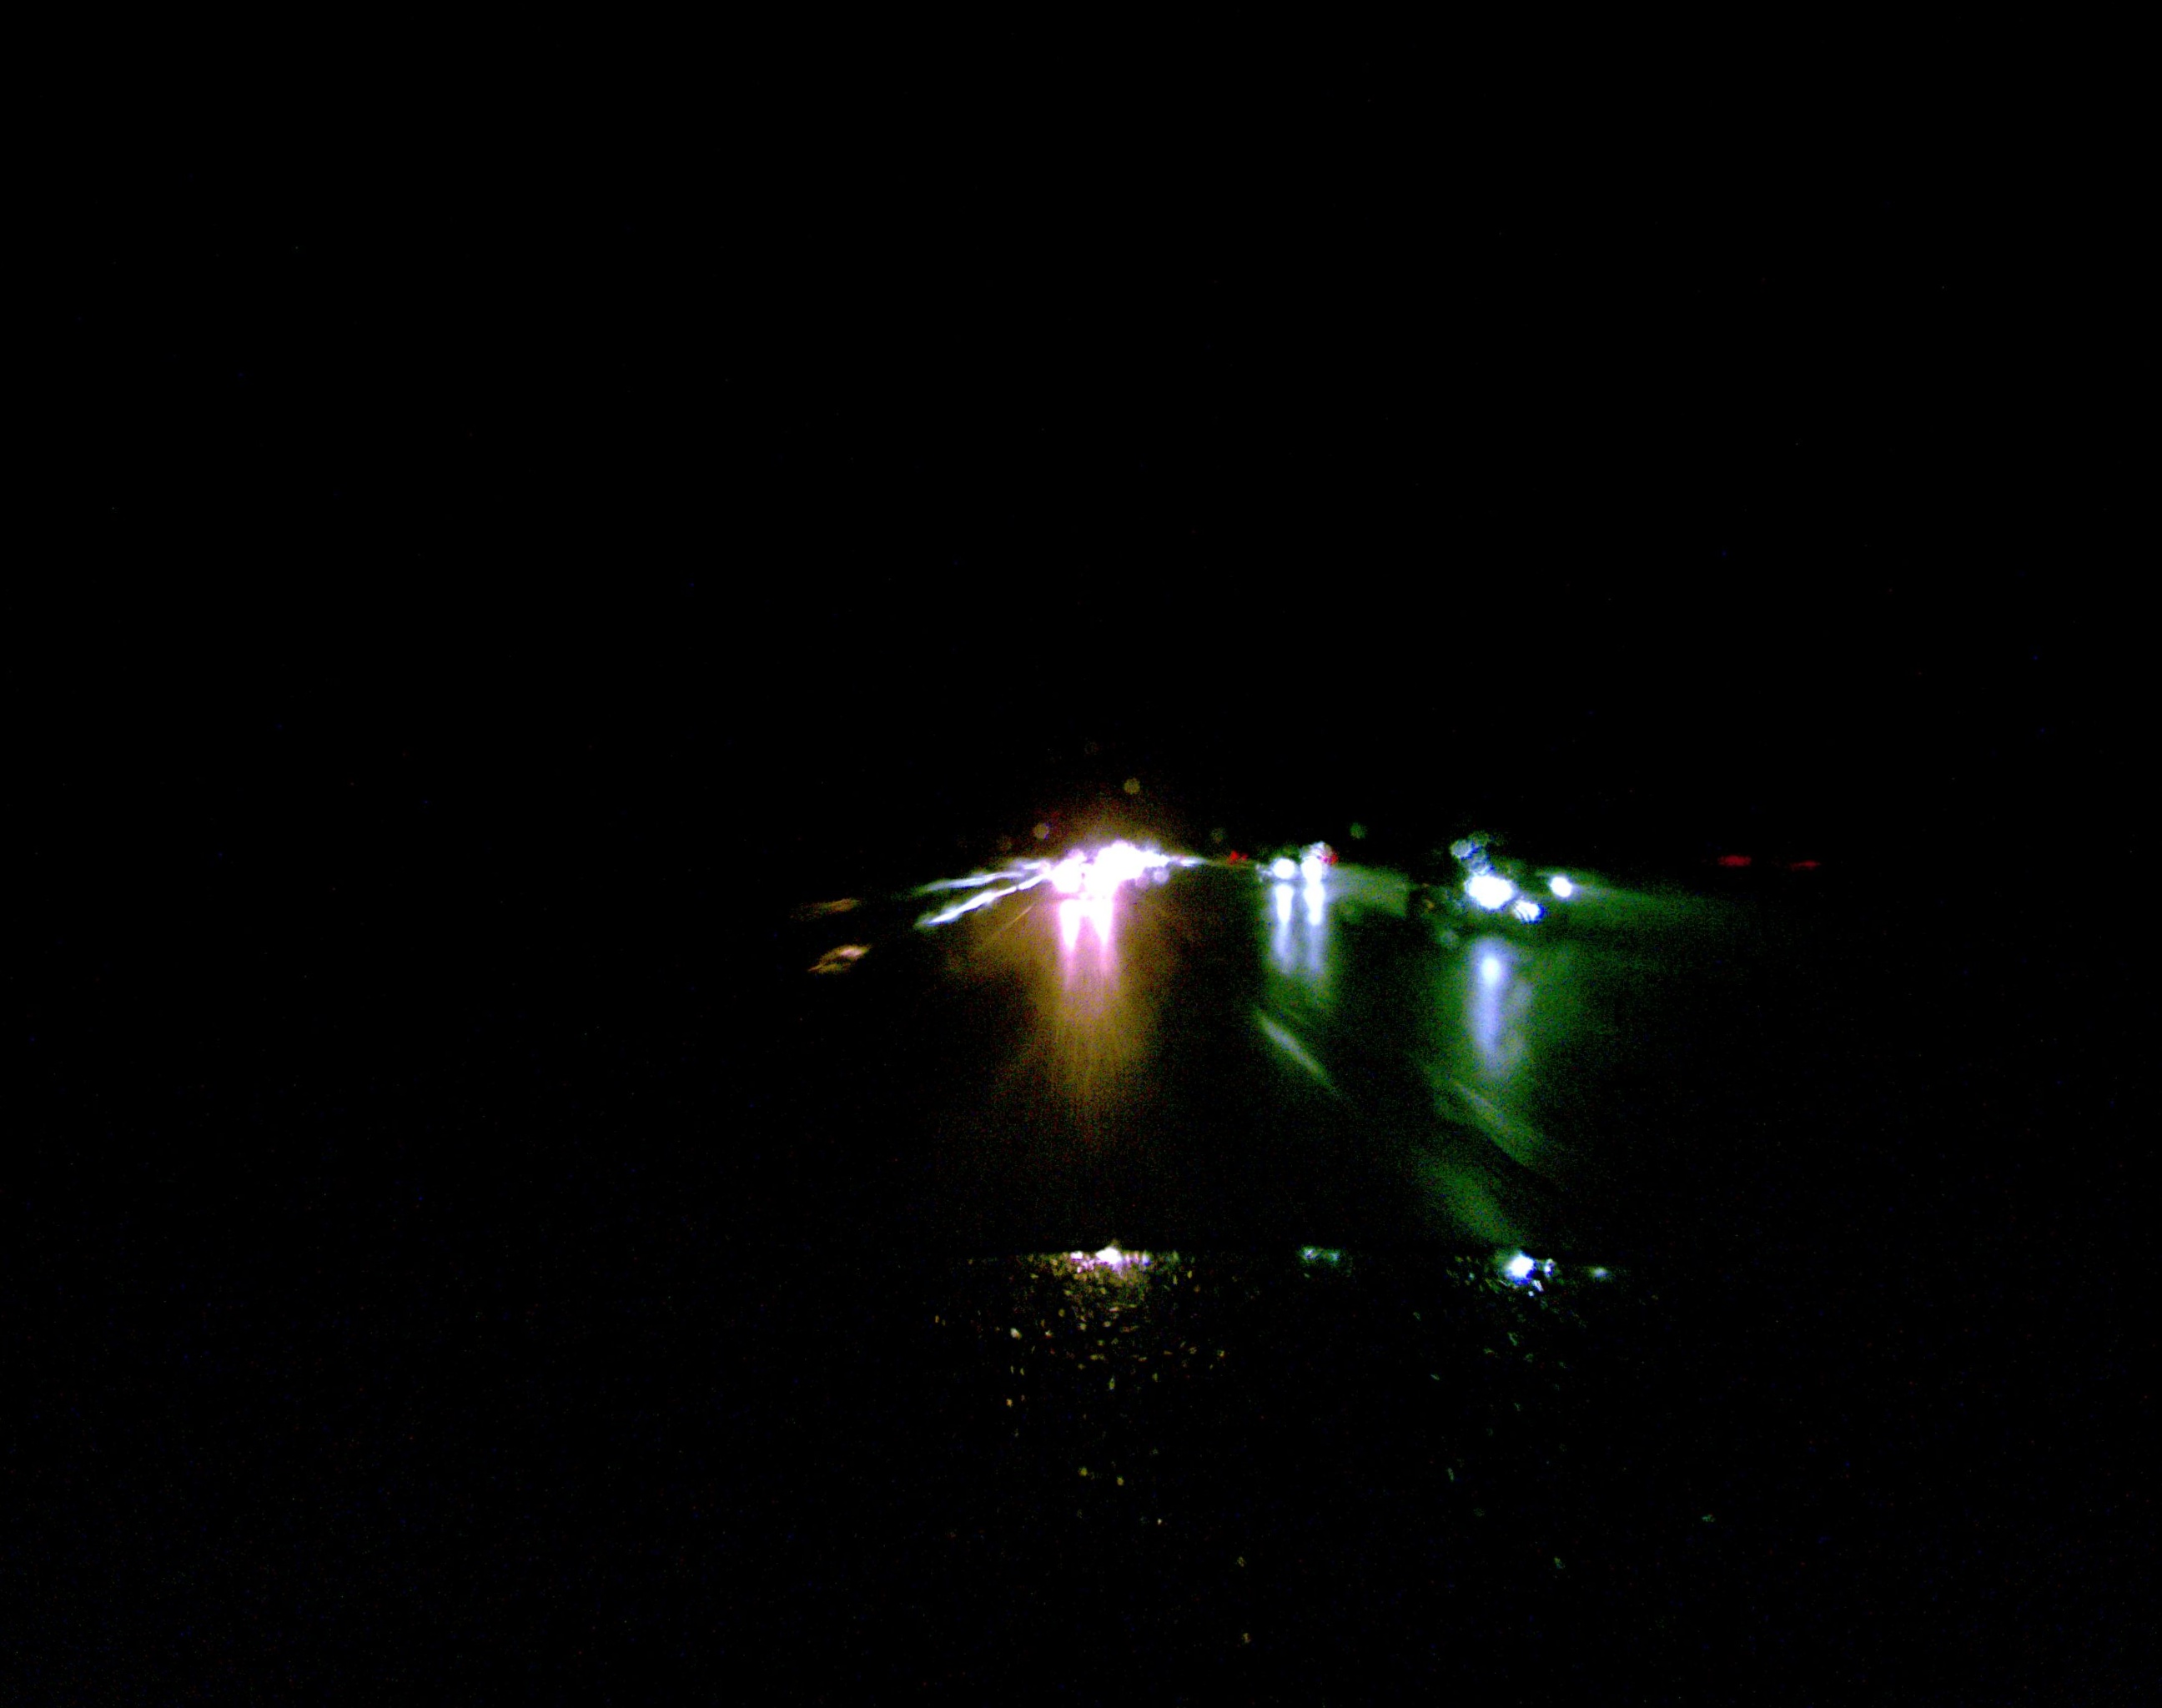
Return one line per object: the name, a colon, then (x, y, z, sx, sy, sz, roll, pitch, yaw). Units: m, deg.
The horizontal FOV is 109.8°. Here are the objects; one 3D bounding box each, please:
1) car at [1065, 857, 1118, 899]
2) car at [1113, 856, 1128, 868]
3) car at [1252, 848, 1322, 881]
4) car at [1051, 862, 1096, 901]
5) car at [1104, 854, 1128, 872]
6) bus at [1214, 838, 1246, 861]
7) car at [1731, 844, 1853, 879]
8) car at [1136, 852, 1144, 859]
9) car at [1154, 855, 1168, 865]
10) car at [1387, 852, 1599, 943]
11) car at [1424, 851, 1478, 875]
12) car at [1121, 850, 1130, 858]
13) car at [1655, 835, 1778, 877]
car: (0.441, 0.979, 31.088, 1.998, 1.542, 4.001, -2, -1, 1)
car: (5.666, 1.135, 110.464, 1.998, 1.551, 4.587, -2, 1, 1)
car: (10.187, 0.476, 38.037, 1.999, 1.468, 5.164, -2, 1, 0)
car: (-0.236, 0.991, 28.463, 1.525, 1.256, 3.369, -2, 1, 1)
car: (3.223, 0.845, 71.276, 1.998, 1.468, 4.840, -2, 1, 0)
bus: (30.057, -0.967, 154.114, 3.379, 4.423, 16.541, -2, 1, 2)
car: (32.456, 0.300, 34.853, 1.885, 1.425, 3.895, -2, 1, -1)
car: (15.887, 0.459, 203.623, 1.998, 1.797, 4.000, -2, 1, 2)
car: (13.899, 1.106, 131.747, 1.998, 1.551, 4.587, -2, 1, 1)
car: (7.803, 0.739, 14.902, 1.998, 1.433, 4.000, -2, 1, 1)
car: (28.918, 0.680, 59.528, 1.885, 1.712, 4.562, -2, 1, -2)
car: (9.845, -0.062, 168.289, 1.998, 1.551, 4.587, -2, 1, 1)
car: (28.774, 0.048, 34.618, 1.884, 1.712, 4.563, -2, 1, 2)
